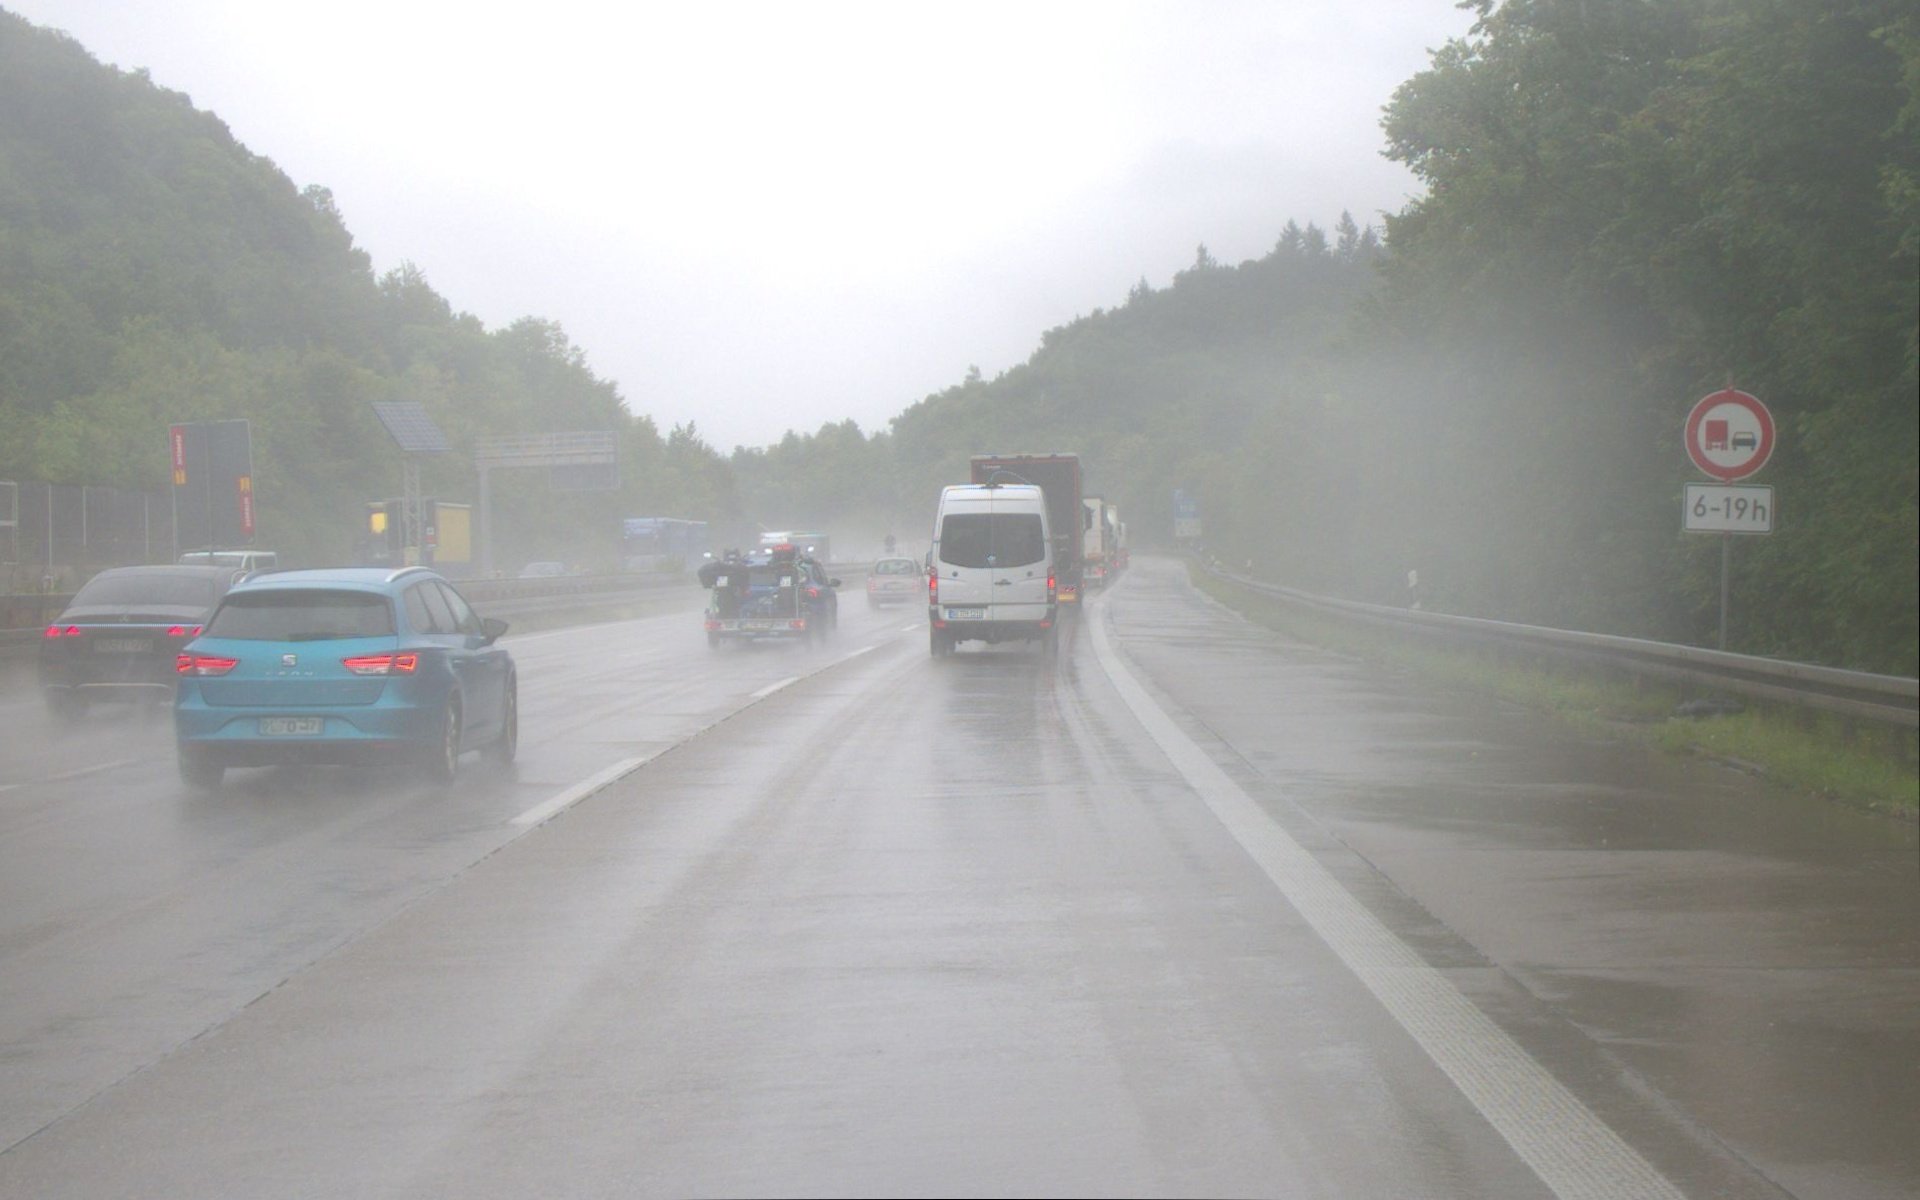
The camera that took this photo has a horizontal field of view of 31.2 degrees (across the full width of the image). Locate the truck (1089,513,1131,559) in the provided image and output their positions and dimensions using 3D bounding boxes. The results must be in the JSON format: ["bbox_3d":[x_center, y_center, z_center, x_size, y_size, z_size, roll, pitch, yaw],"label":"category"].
[{"bbox_3d":[9.936,-4.248,228.590,2.585,2.971,9.026,1,1,1],"label":"truck"}]

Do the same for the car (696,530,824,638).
[{"bbox_3d":[-3.462,-0.310,60.227,1.868,1.804,4.189,1,1,2],"label":"car"}]

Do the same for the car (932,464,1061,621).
[{"bbox_3d":[0.618,-0.909,54.253,1.899,2.326,5.250,1,1,2],"label":"car"}]

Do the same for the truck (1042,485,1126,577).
[{"bbox_3d":[5.519,-2.987,151.881,3.091,3.896,9.052,1,1,6],"label":"truck"}]

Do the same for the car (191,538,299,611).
[{"bbox_3d":[-20.647,-0.747,99.477,1.977,2.007,5.198,1,1,1],"label":"car"}]

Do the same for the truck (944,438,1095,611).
[{"bbox_3d":[1.581,-2.010,86.316,3.385,3.954,8.667,-3,3,3],"label":"truck"}]

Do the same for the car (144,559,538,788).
[{"bbox_3d":[-4.000,0.418,22.893,1.856,1.334,4.351,1,1,0],"label":"car"}]

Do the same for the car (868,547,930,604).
[{"bbox_3d":[-1.802,-0.741,102.571,1.614,1.622,4.189,1,1,2],"label":"car"}]

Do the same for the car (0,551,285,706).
[{"bbox_3d":[-7.761,0.224,32.679,1.856,1.334,4.351,1,1,0],"label":"car"}]
